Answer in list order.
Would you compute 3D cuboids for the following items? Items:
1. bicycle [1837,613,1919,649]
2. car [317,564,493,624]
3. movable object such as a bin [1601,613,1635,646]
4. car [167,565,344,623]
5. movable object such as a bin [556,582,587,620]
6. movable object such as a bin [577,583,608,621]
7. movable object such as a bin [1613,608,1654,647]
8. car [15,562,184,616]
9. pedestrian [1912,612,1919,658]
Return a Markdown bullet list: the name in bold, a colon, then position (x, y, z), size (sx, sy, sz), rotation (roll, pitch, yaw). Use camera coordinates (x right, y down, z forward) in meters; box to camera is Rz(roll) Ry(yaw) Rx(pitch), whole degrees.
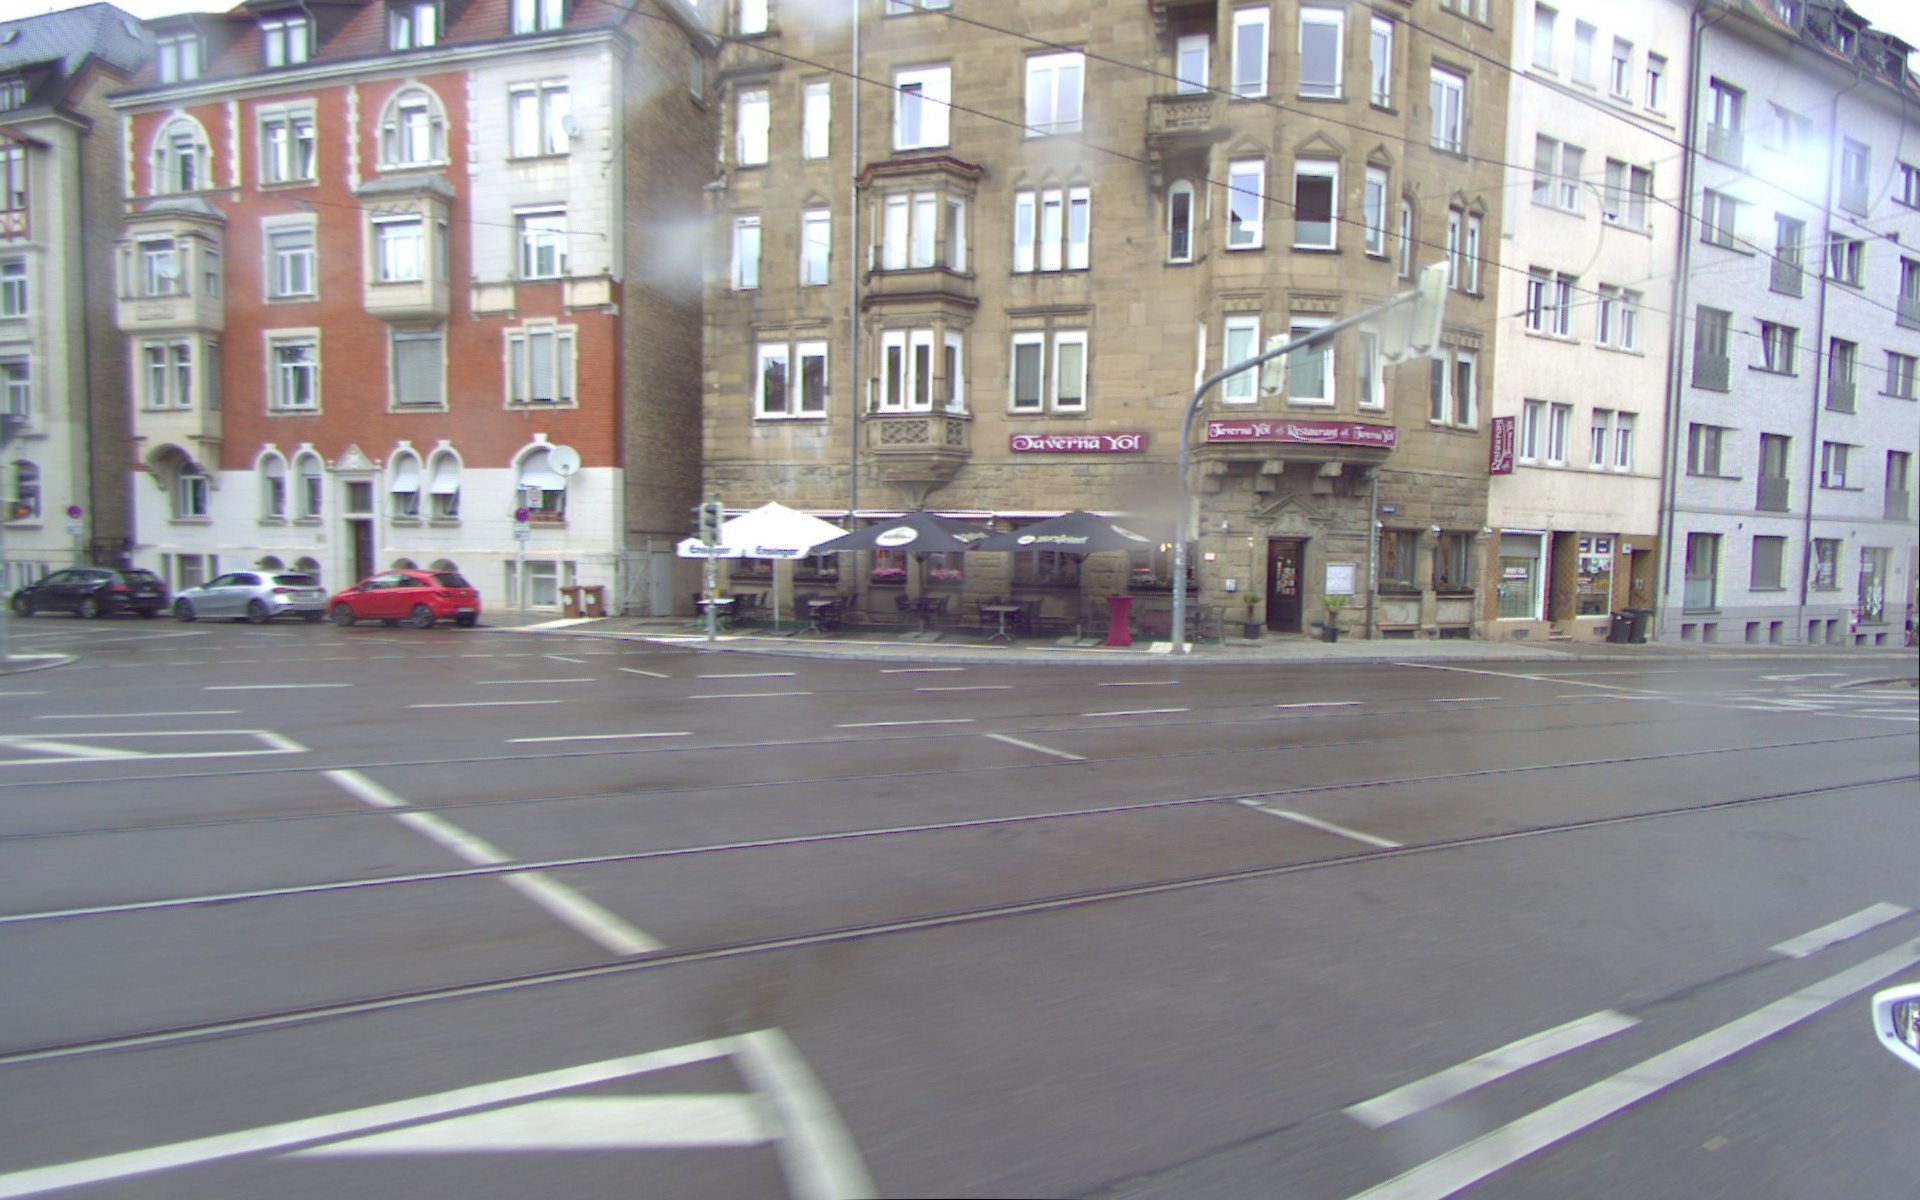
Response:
- **bicycle**: position (45.882, 1.525, 49.985), size (1.584, 1.605, 3.121), rotation (1, 1, -38)
- **car**: position (-14.576, -0.166, 26.426), size (3.919, 1.422, 1.743), rotation (2, 1, 15)
- **movable object such as a bin**: position (19.692, 0.887, 30.062), size (0.553, 0.923, 0.591), rotation (1, 5, -28)
- **car**: position (-19.403, -0.179, 27.706), size (4.084, 1.422, 1.743), rotation (2, 1, 15)
- **movable object such as a bin**: position (-11.075, 0.037, 28.663), size (0.540, 1.056, 0.722), rotation (2, 1, 3)
- **movable object such as a bin**: position (-10.490, 0.061, 28.692), size (0.540, 1.056, 0.722), rotation (2, 1, 3)
- **movable object such as a bin**: position (20.296, 0.826, 30.280), size (0.678, 1.088, 0.710), rotation (1, 5, -28)
- **car**: position (-25.128, -0.332, 29.356), size (4.060, 1.422, 1.743), rotation (2, 1, 15)
- **pedestrian**: position (38.412, 1.421, 39.865), size (0.912, 1.810, 0.638), rotation (3, -1, -28)
